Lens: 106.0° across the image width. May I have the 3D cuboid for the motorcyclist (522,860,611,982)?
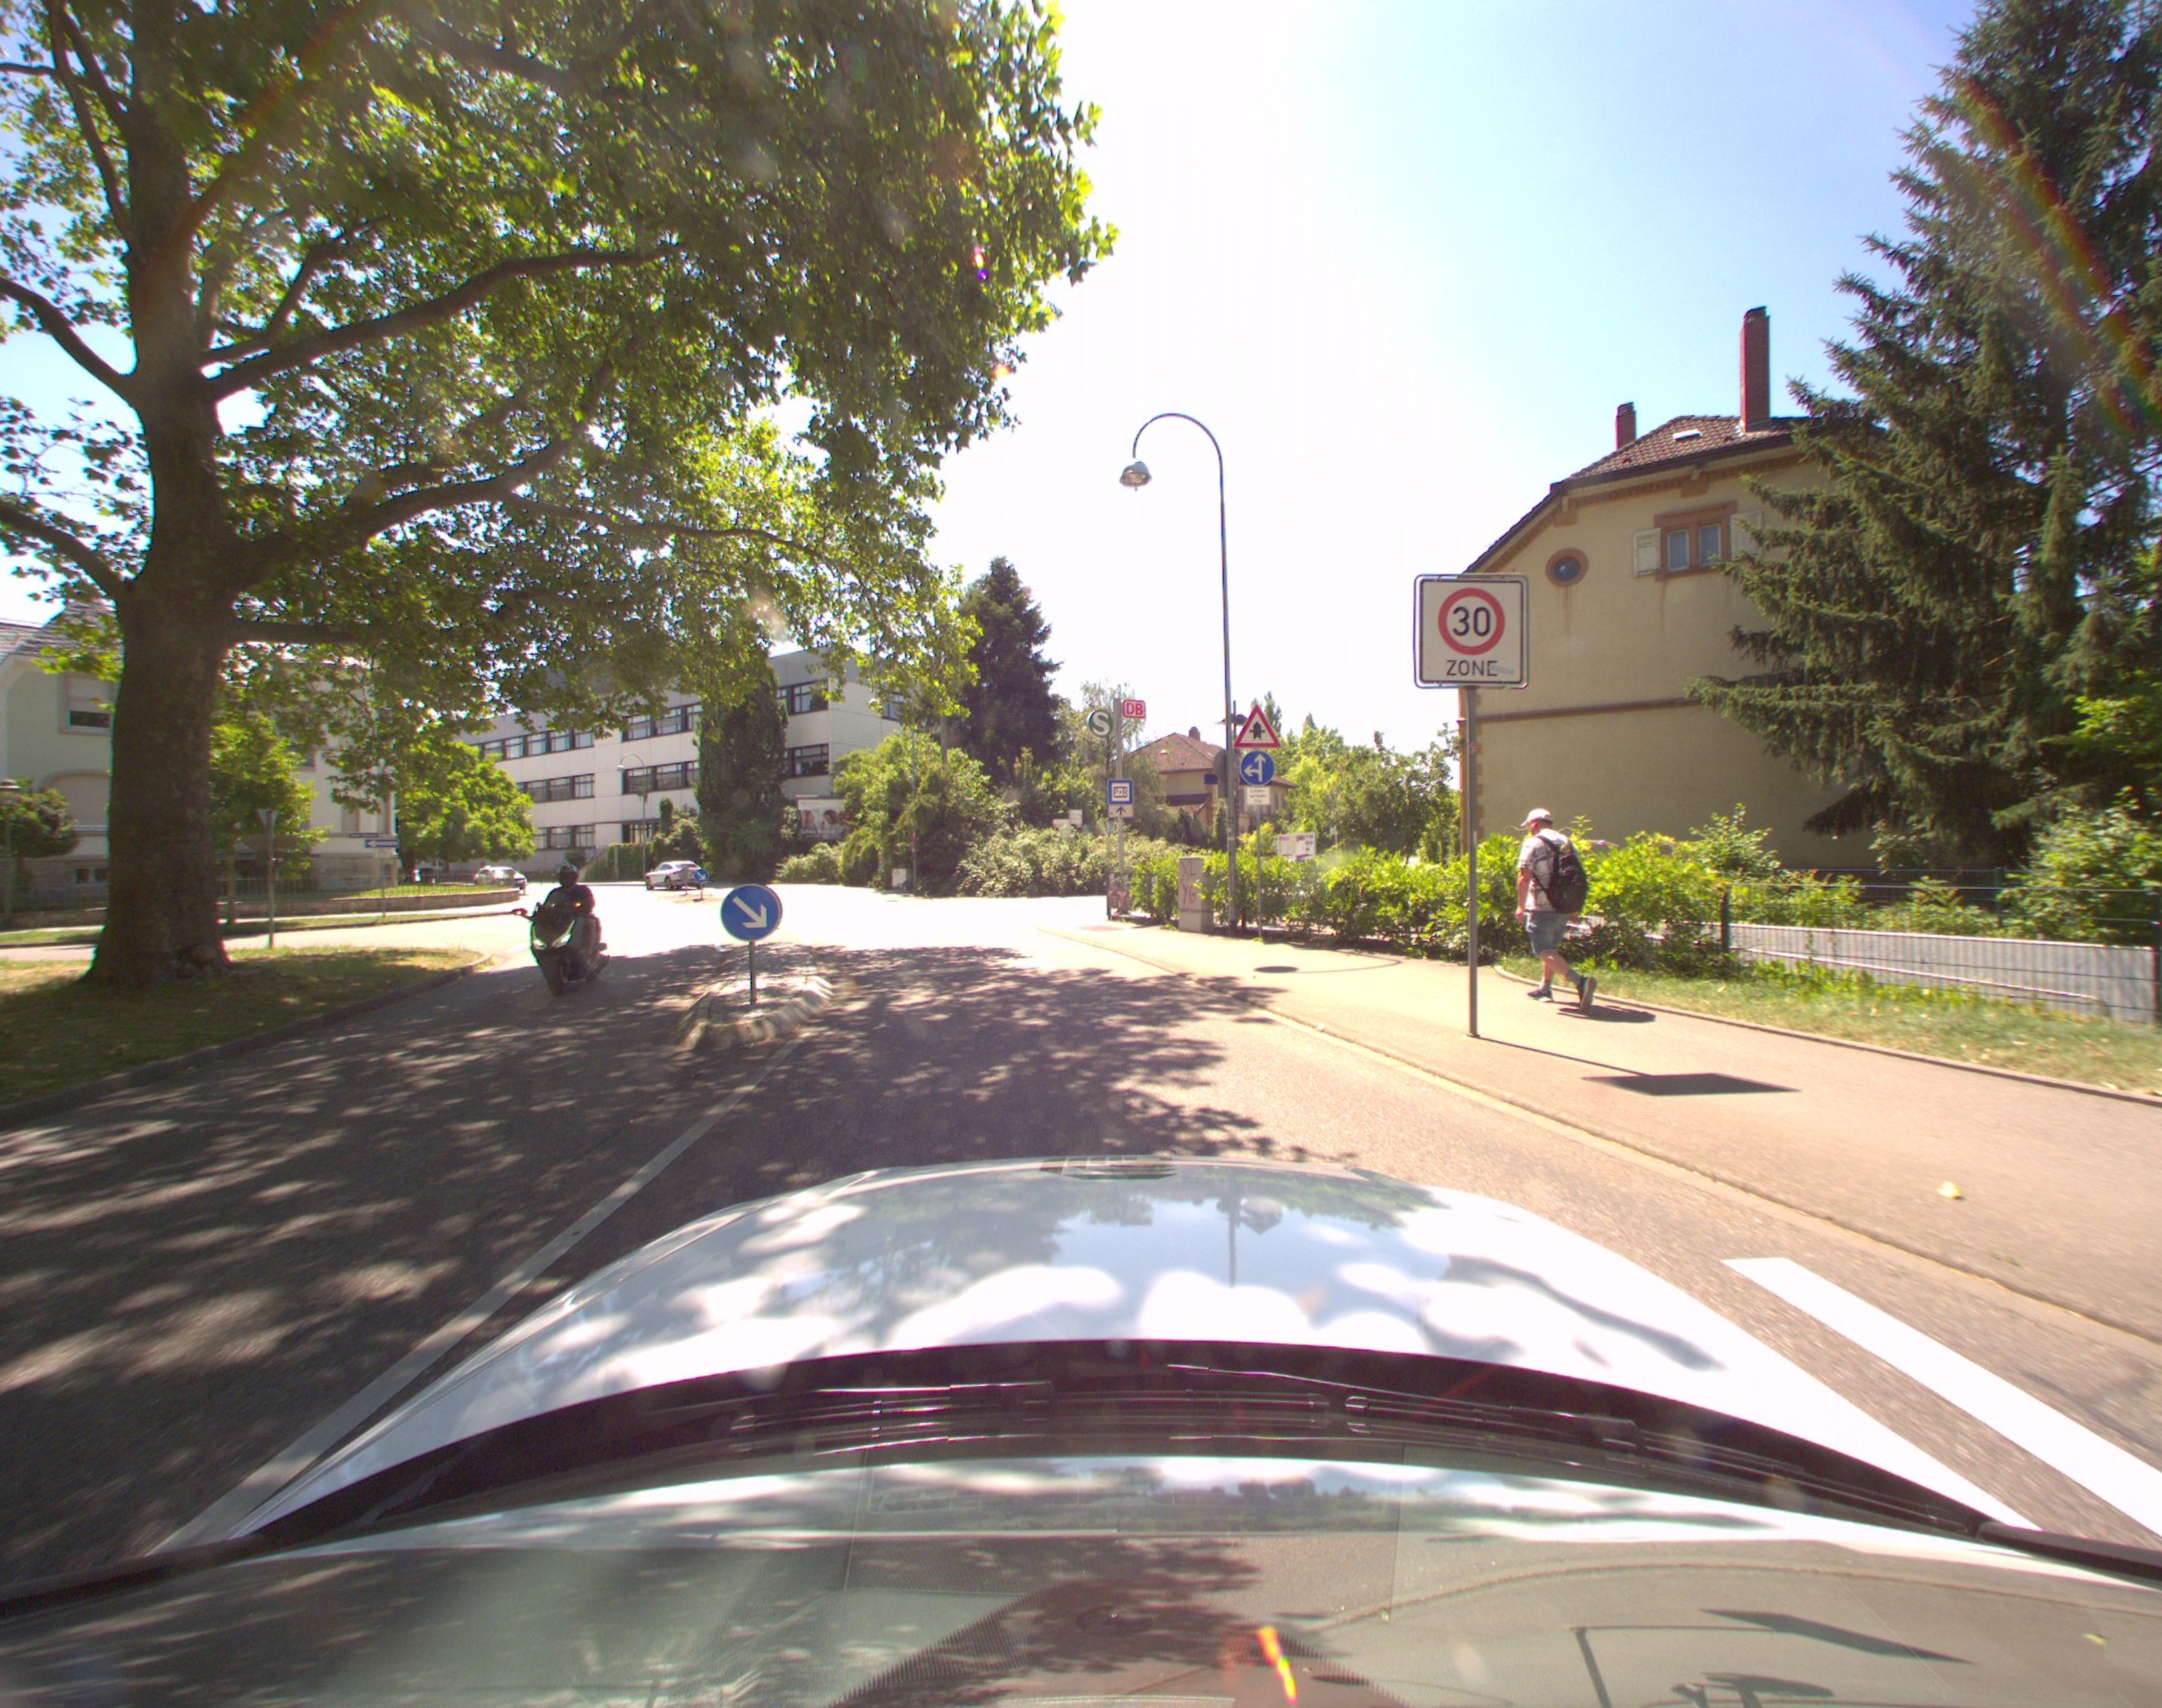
[{"bbox_3d":[-7.010,0.870,11.152,0.810,1.555,1.097,-1,0,-21],"label":"motorcyclist"}]

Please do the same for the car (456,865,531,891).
[{"bbox_3d":[-39.034,1.604,54.128,4.254,1.623,1.888,-1,1,19],"label":"car"}]

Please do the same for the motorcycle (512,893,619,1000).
[{"bbox_3d":[-7.024,1.200,11.208,0.810,1.231,2.037,-1,0,-20],"label":"motorcycle"}]

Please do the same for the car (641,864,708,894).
[{"bbox_3d":[-23.493,1.401,47.004,4.415,1.614,1.954,0,0,41],"label":"car"}]

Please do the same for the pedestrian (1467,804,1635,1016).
[{"bbox_3d":[4.212,0.467,7.369,0.912,1.772,0.912,-2,0,-9],"label":"pedestrian"}]

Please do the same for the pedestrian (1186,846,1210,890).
[{"bbox_3d":[4.447,0.517,31.037,0.618,1.627,0.694,-1,1,-27],"label":"pedestrian"}]
